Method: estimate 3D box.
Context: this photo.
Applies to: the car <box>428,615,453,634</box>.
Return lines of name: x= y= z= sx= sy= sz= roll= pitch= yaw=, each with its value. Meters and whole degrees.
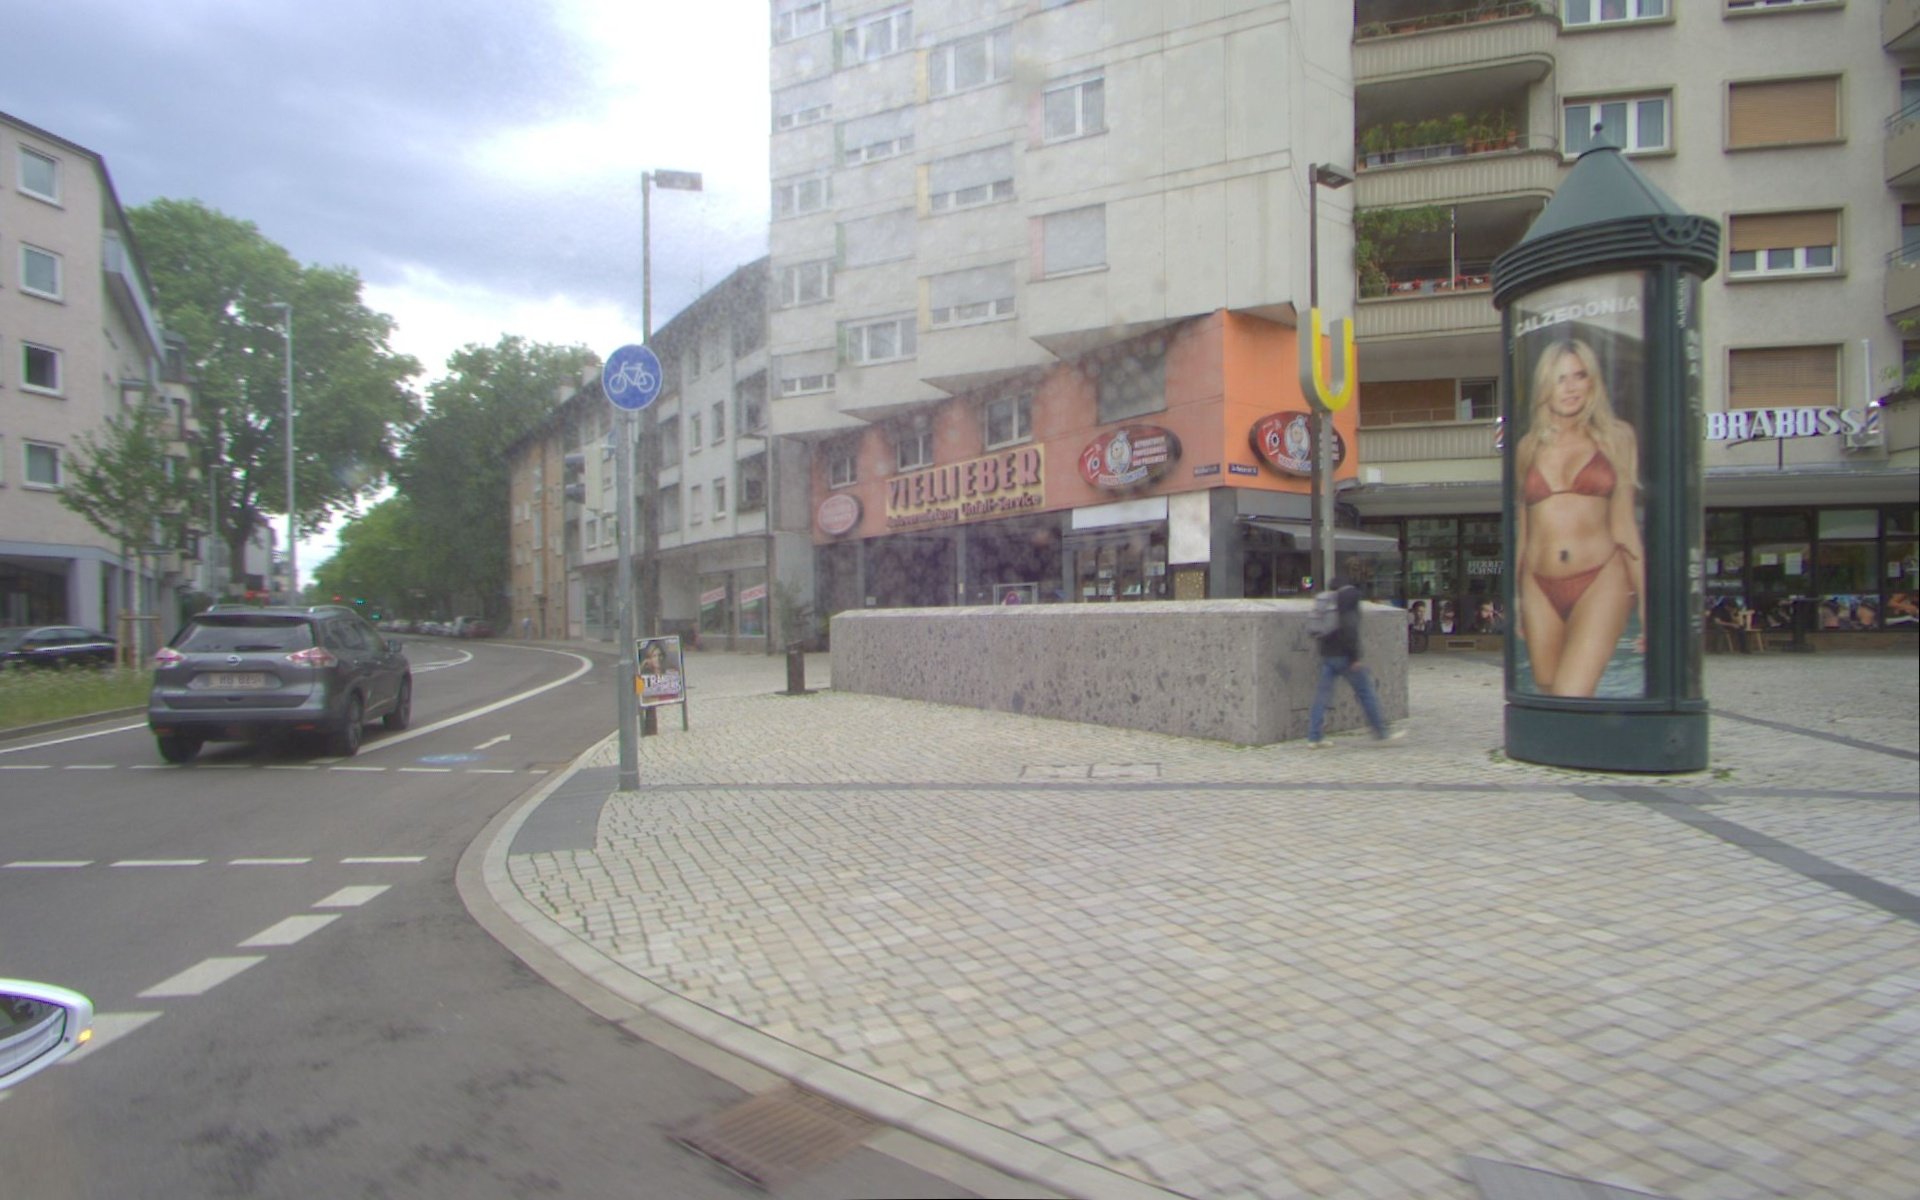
car: x=-50.890 y=2.355 z=98.045 sx=1.844 sy=1.798 sz=3.959 roll=1 pitch=-1 yaw=-32

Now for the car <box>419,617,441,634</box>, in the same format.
car: x=-58.939 y=2.870 z=111.381 sx=1.844 sy=1.798 sz=3.959 roll=1 pitch=-1 yaw=-32

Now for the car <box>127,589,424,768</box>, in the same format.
car: x=-8.186 y=0.839 z=12.507 sx=1.837 sy=1.798 sz=4.557 roll=1 pitch=-1 yaw=-18

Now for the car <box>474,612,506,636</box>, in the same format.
car: x=-37.314 y=1.910 z=79.479 sx=1.844 sy=1.798 sz=3.959 roll=1 pitch=-1 yaw=-32

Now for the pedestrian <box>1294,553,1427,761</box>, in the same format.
pedestrian: x=3.830 y=0.520 z=9.648 sx=1.133 sy=1.887 sz=0.803 roll=-1 pitch=1 yaw=20

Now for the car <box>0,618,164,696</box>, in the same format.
car: x=-19.748 y=1.177 z=21.218 sx=1.715 sy=1.501 sz=4.565 roll=-1 pitch=0 yaw=8

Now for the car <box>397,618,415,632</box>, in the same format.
car: x=-74.602 y=3.345 z=134.762 sx=1.844 sy=1.798 sz=3.959 roll=1 pitch=-1 yaw=-32

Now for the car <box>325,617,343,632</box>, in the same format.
car: x=-77.148 y=2.973 z=123.463 sx=1.844 sy=1.798 sz=3.959 roll=1 pitch=-1 yaw=-32

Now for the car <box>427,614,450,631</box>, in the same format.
car: x=-55.868 y=2.377 z=107.181 sx=1.844 sy=1.798 sz=3.959 roll=1 pitch=-1 yaw=-32

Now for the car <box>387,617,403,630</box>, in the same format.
car: x=-81.427 y=3.424 z=144.356 sx=1.844 sy=1.798 sz=3.959 roll=1 pitch=-1 yaw=-32

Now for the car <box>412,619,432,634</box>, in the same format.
car: x=-65.506 y=3.238 z=121.956 sx=1.844 sy=1.798 sz=3.959 roll=1 pitch=-1 yaw=-32

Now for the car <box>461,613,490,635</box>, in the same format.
car: x=-41.587 y=2.021 z=85.934 sx=1.844 sy=1.798 sz=3.959 roll=1 pitch=-1 yaw=-32
